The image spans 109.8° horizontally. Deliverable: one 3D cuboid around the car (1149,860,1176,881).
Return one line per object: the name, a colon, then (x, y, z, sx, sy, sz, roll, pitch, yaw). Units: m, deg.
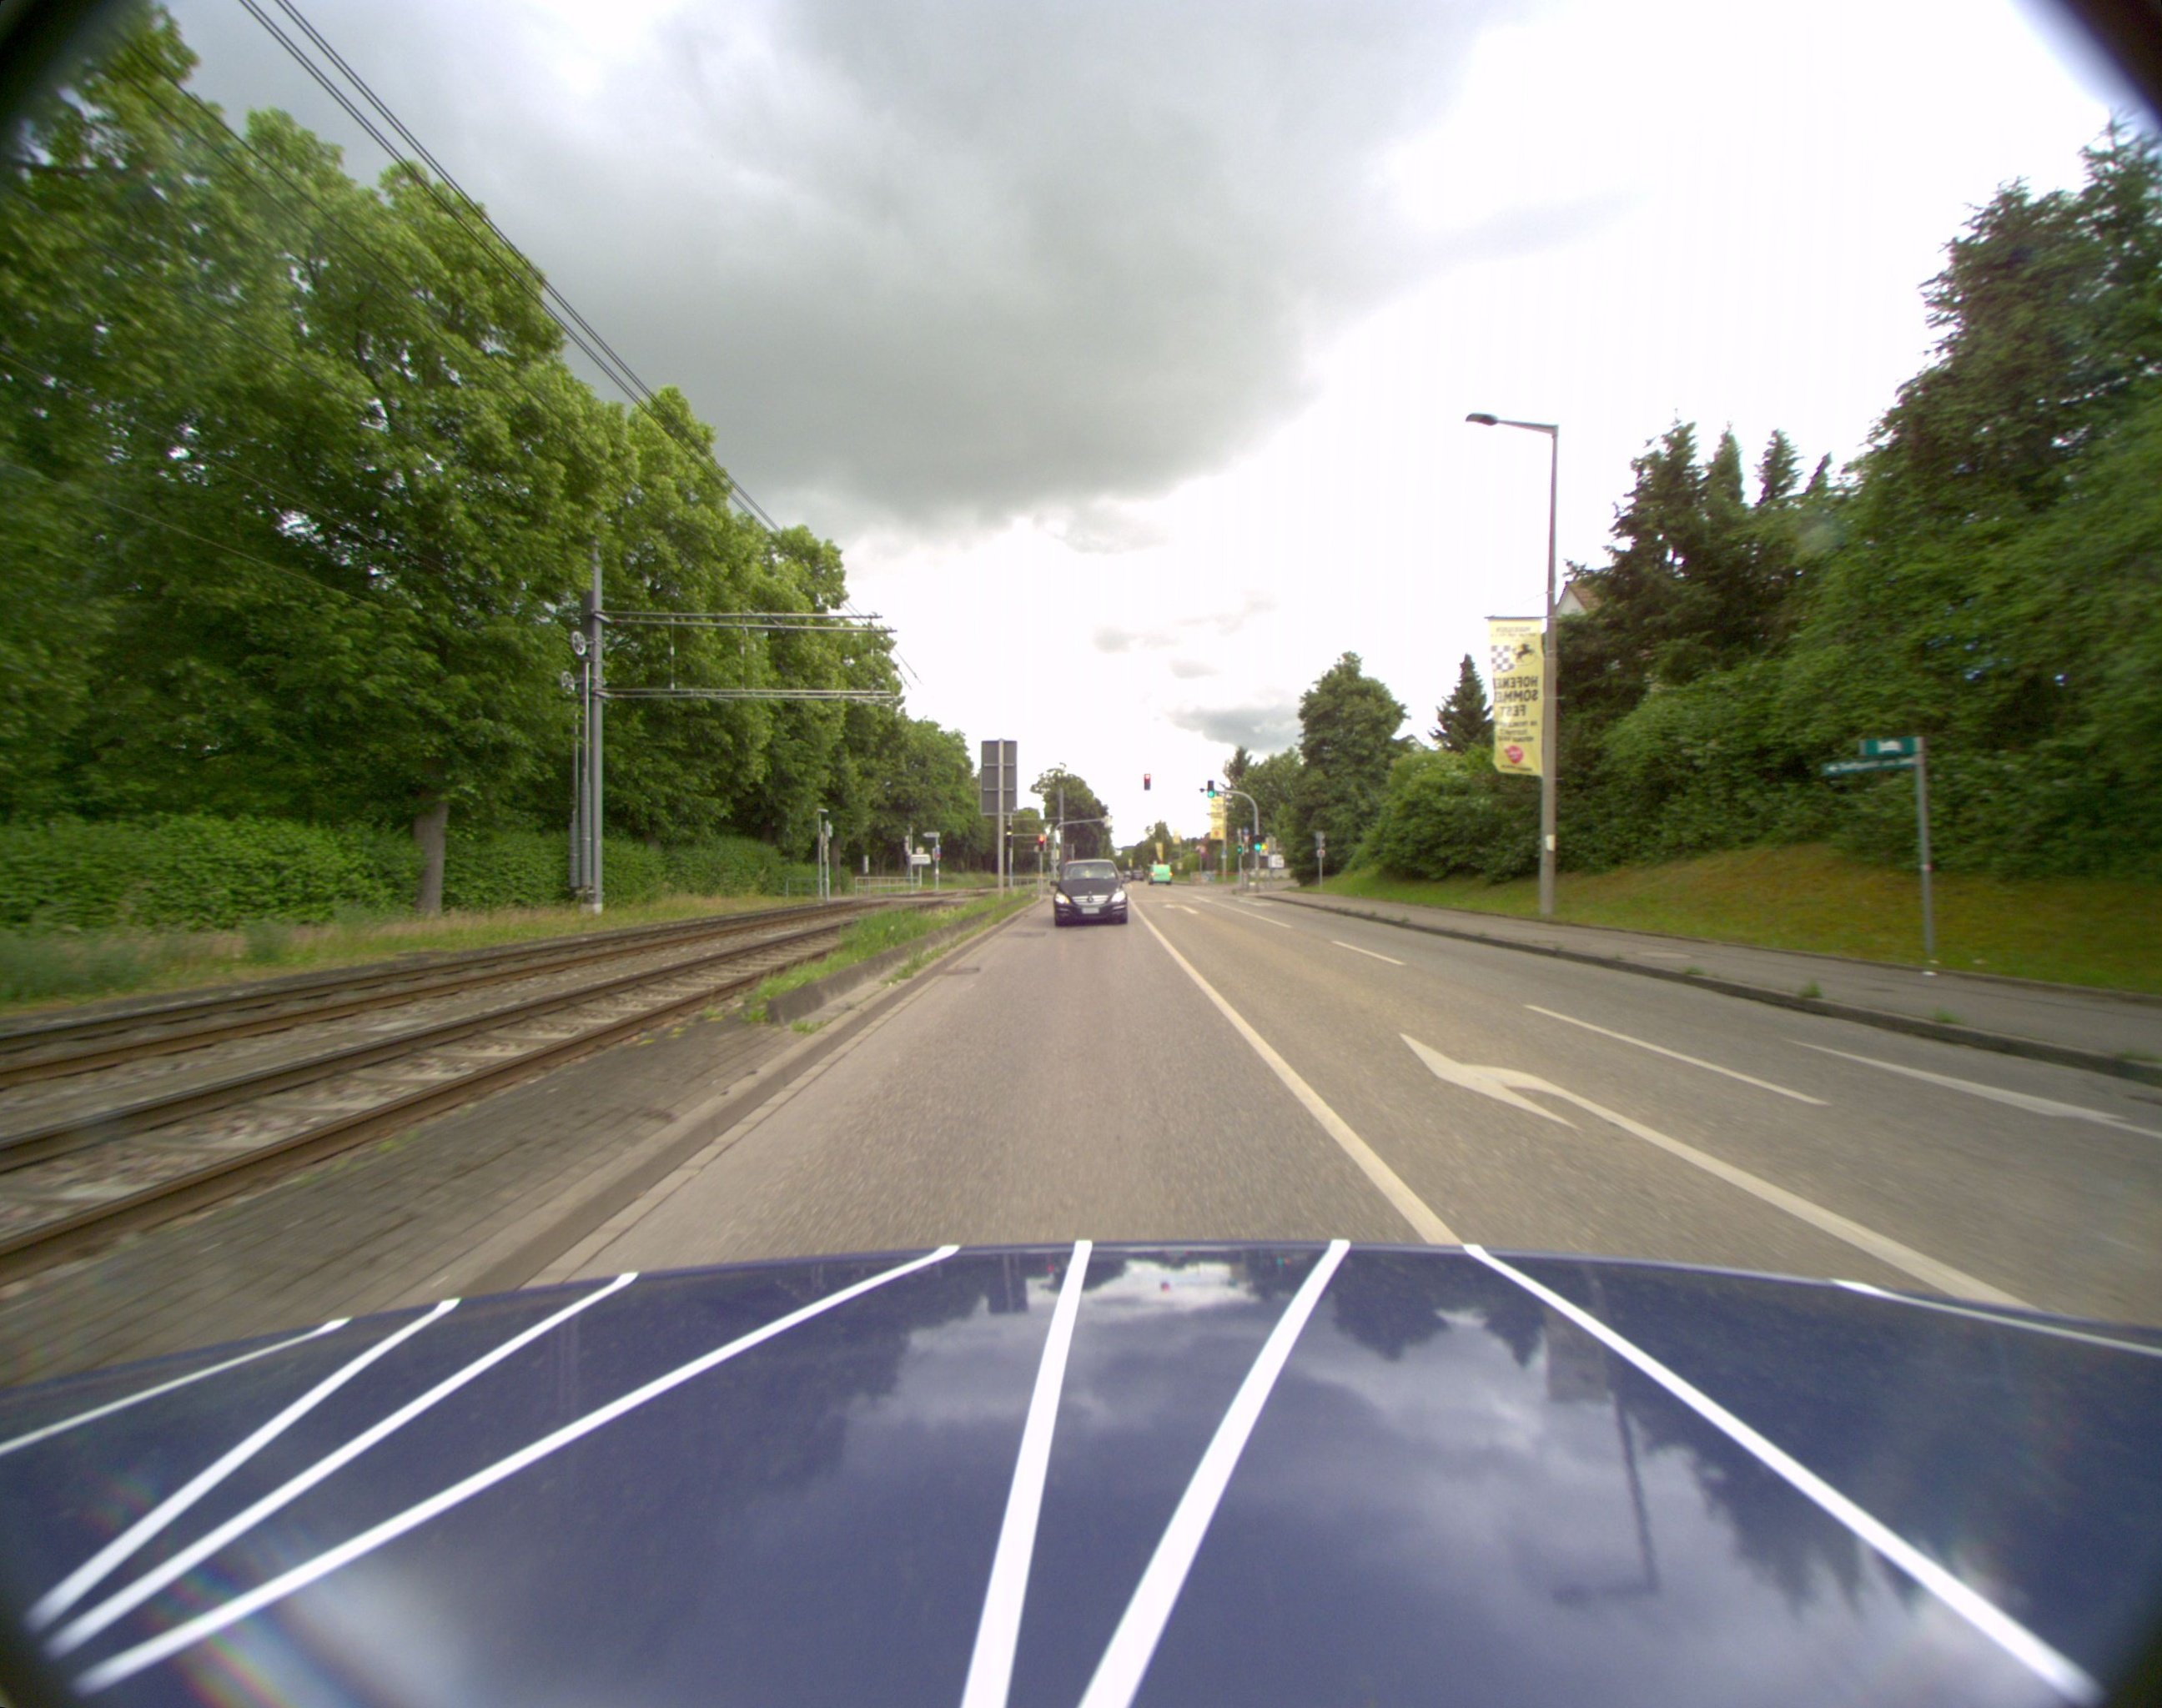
car: (7.530, 1.521, 70.381, 2.063, 1.799, 4.730, 1, 0, 1)

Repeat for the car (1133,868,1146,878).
car: (9.088, 2.928, 119.119, 1.903, 1.569, 4.280, 0, -1, 2)

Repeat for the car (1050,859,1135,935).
car: (0.266, 0.942, 18.383, 1.749, 1.558, 4.122, -3, 0, 1)

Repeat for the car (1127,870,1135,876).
car: (13.219, 5.051, 201.578, 1.903, 1.569, 4.123, 1, -1, 2)
